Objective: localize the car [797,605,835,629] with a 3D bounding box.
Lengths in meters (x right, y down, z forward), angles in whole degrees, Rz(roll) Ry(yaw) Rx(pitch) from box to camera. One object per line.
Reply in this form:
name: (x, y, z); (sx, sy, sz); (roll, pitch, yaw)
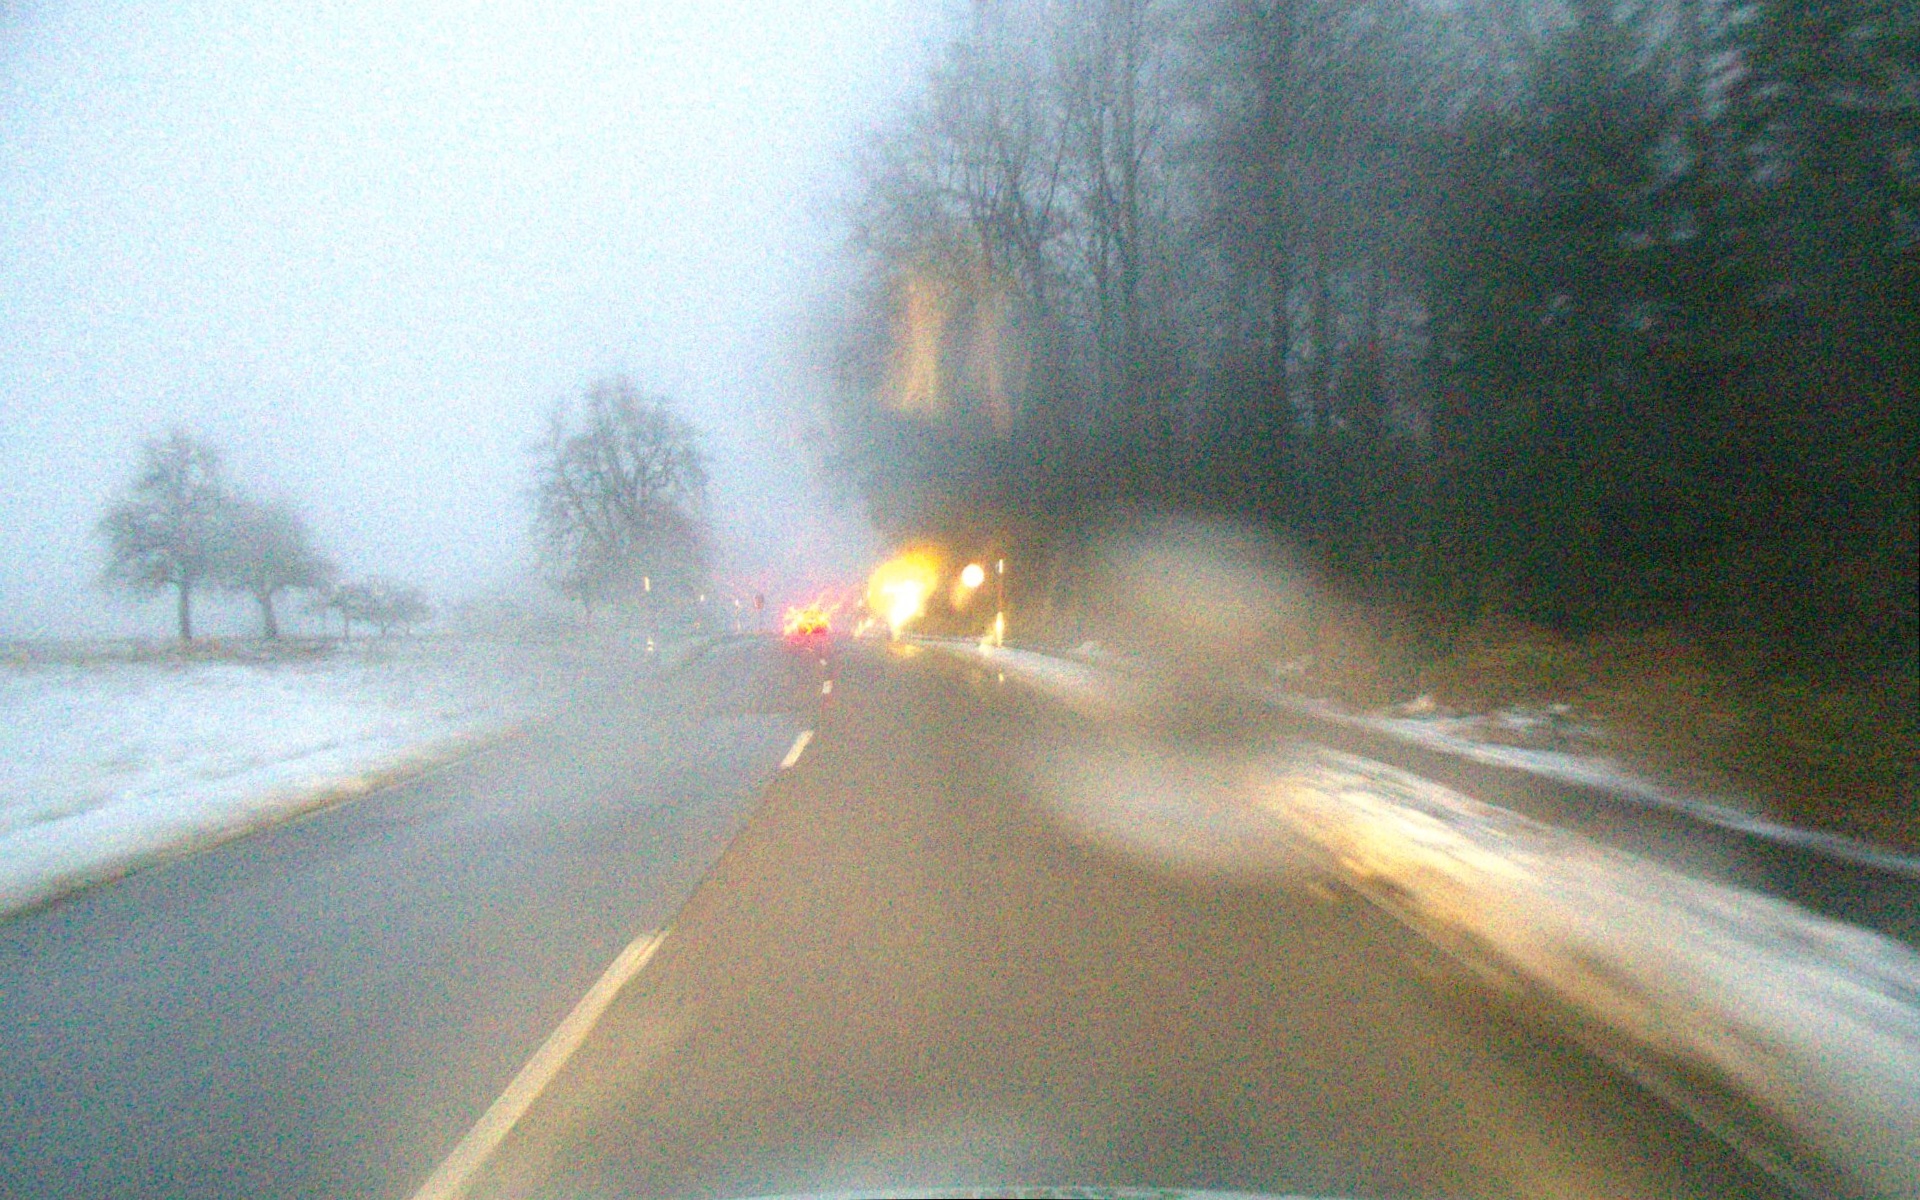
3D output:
car: (-8.642, 1.007, 99.384); (1.882, 1.299, 4.000); (-2, 0, 0)
